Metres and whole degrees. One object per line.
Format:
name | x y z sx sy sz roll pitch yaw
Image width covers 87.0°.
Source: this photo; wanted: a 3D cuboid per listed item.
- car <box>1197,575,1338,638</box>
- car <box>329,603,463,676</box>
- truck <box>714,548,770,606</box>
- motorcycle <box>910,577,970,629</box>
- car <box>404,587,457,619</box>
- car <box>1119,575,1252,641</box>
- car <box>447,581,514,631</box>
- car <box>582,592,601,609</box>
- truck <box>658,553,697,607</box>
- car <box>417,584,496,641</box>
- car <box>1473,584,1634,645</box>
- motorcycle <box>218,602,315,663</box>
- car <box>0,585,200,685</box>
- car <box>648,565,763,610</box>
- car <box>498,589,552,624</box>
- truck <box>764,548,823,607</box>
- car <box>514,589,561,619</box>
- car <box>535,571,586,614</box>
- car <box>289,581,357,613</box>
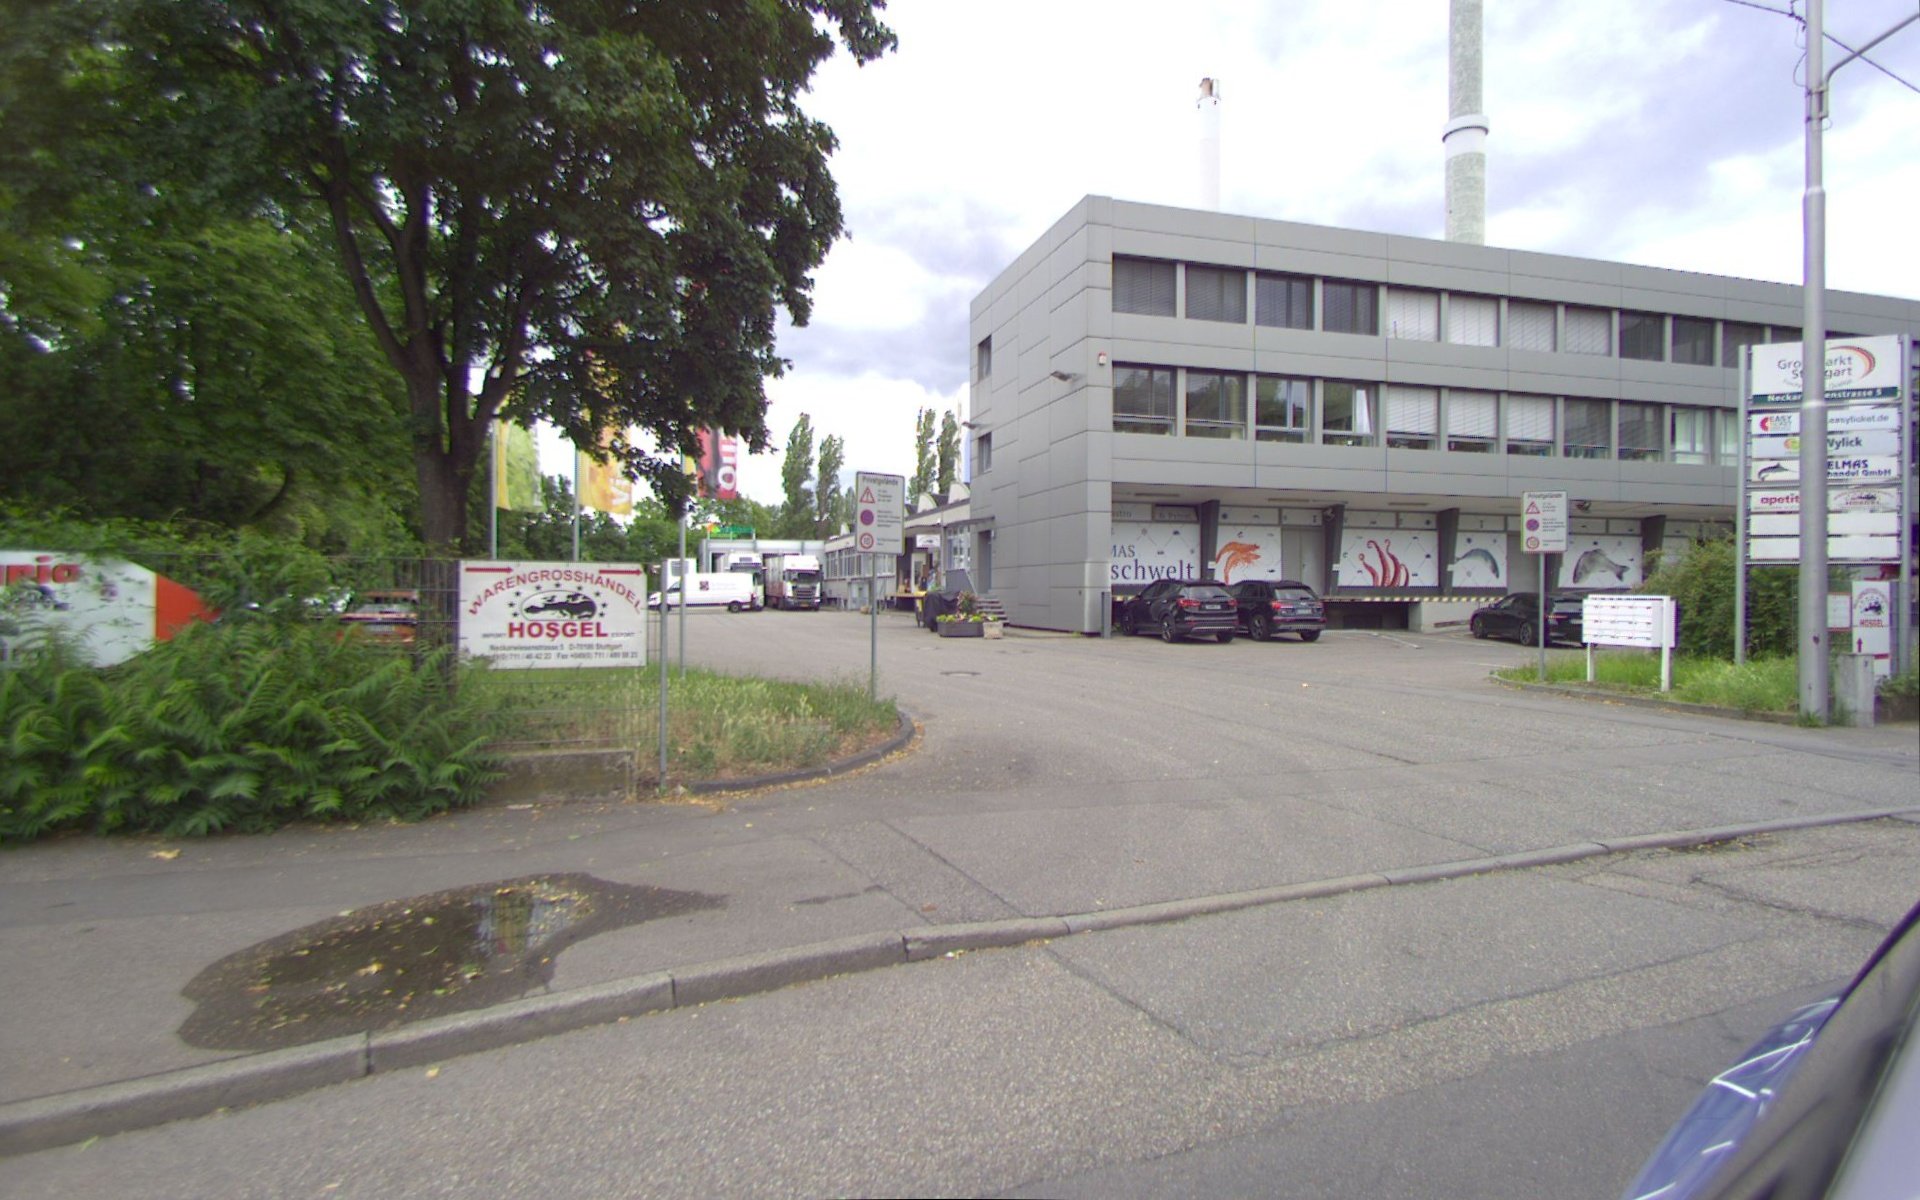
car | 8.718 0.123 29.094 1.800 1.638 4.434 0 2 -15
car | -11.156 0.720 20.270 1.673 1.264 3.709 0 0 -18
truck | -16.723 -1.633 76.691 2.792 3.983 15.762 0 0 -17
motorcycle | -0.654 0.091 34.834 1.181 1.676 2.877 0 0 18
car | -25.591 0.118 49.021 1.564 1.458 3.668 0 0 -16
car | 6.143 0.157 28.170 1.800 1.638 4.475 0 2 -14
car | -16.491 0.189 34.972 1.564 1.615 3.797 0 0 -17
car | -33.052 0.039 90.877 1.564 1.458 3.668 0 0 -20
truck | -23.520 -1.610 84.360 2.936 4.218 9.209 0 1 -16
car | -14.935 0.348 30.187 1.602 1.586 3.569 0 0 -18
car | 16.985 0.355 29.312 2.013 1.463 4.827 0 2 3
motorcycle | -13.627 0.609 19.954 0.995 1.102 2.102 0 0 -17
car | -15.449 0.550 18.165 1.602 1.601 3.748 0 0 -15
car | -16.261 -0.799 64.865 7.004 2.767 2.248 0 0 -15
car | -19.461 0.265 45.417 1.564 1.531 3.813 0 0 -13
truck | -13.019 -1.600 77.977 2.812 4.076 15.883 0 0 -15
car | -20.851 0.176 50.039 1.564 1.458 3.667 0 0 -13
car | -24.561 -0.480 62.402 2.261 2.511 6.941 0 0 -16
car | -26.860 -0.149 42.778 1.384 1.284 3.324 0 0 -12
